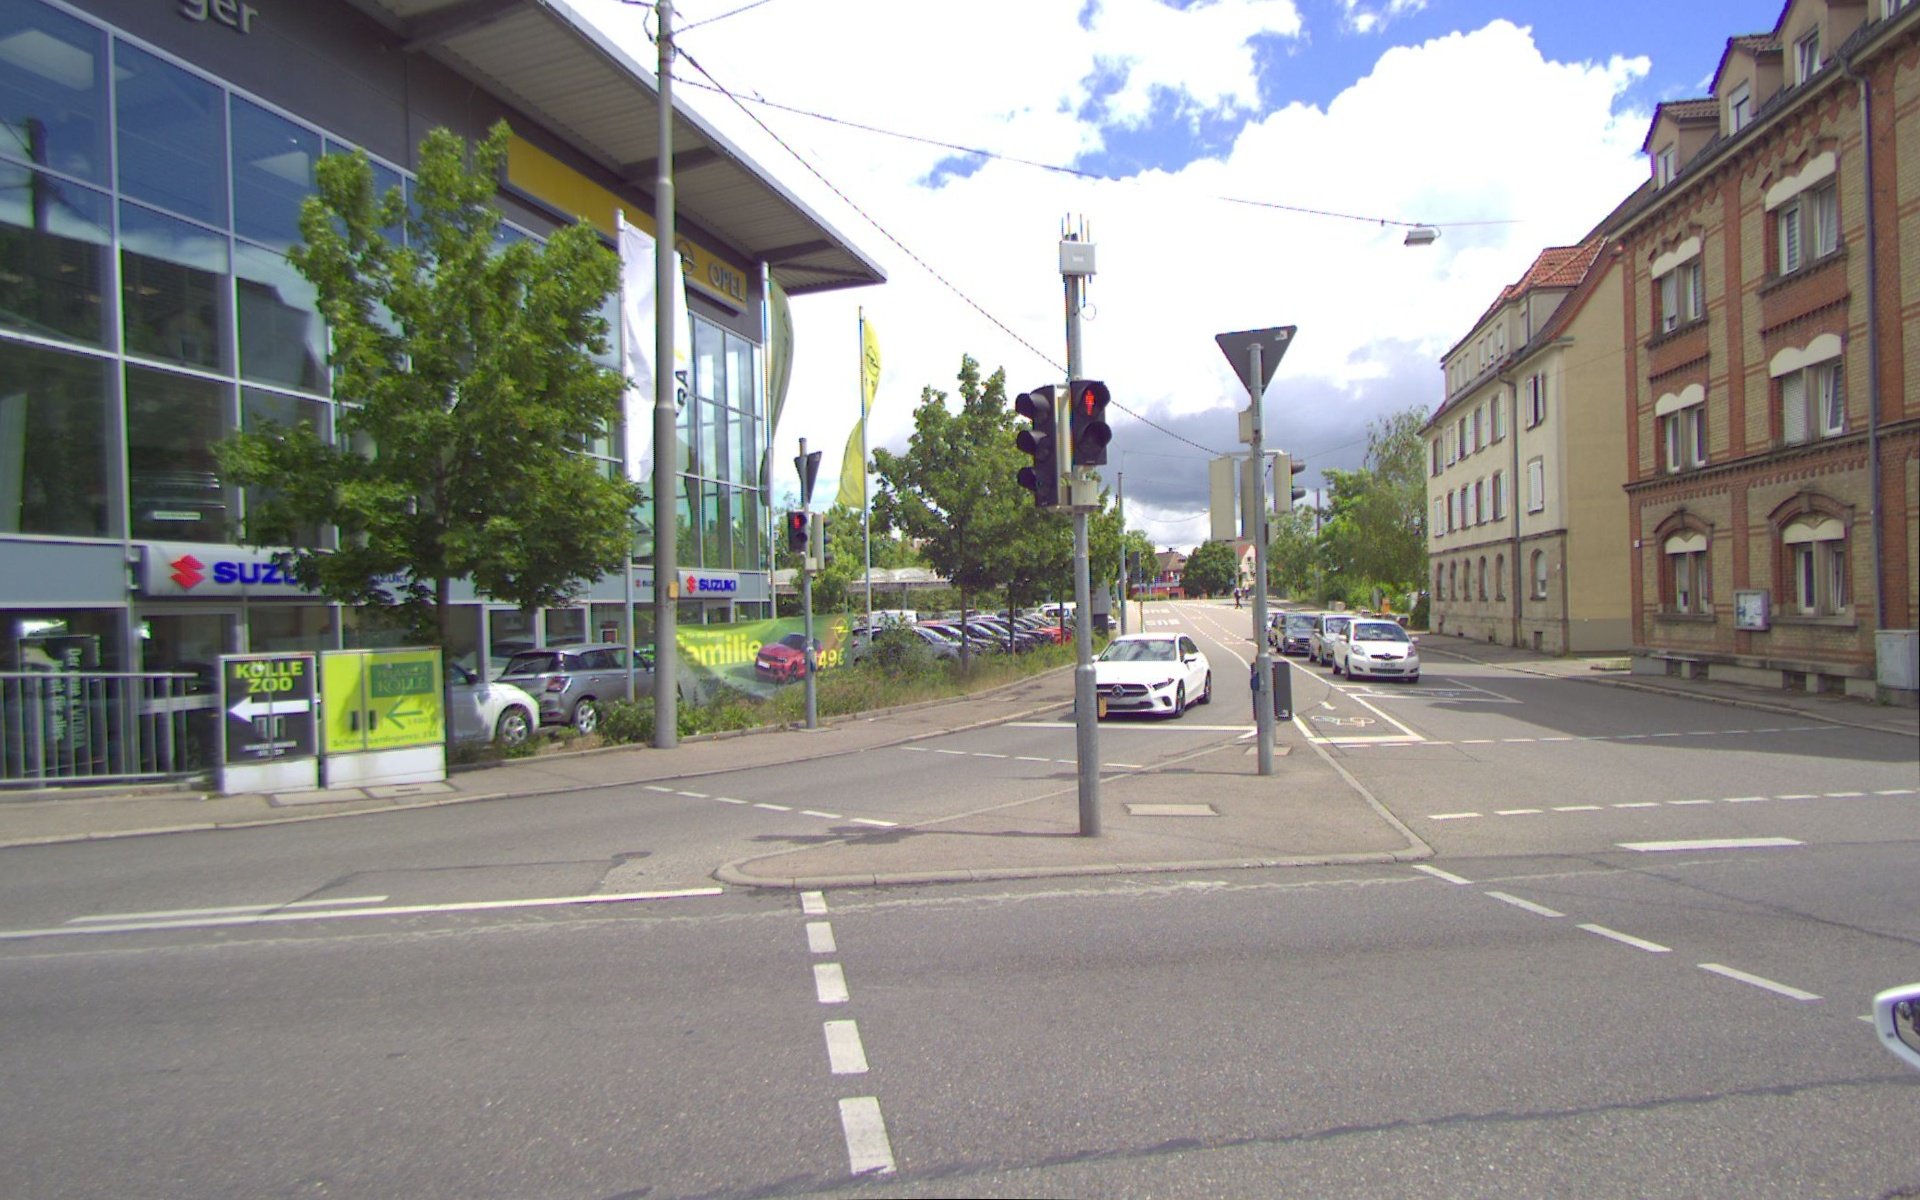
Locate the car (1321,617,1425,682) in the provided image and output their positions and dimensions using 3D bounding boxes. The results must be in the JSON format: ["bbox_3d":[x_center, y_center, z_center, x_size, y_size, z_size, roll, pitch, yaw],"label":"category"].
[{"bbox_3d":[10.605,1.211,26.061,1.667,1.517,4.003,1,-1,10],"label":"car"}]

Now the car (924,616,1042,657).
[{"bbox_3d":[0.845,1.312,36.428,3.920,1.371,1.733,1,-1,17],"label":"car"}]

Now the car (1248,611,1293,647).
[{"bbox_3d":[15.937,1.477,51.641,1.906,1.743,4.002,1,-1,13],"label":"car"}]

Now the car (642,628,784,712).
[{"bbox_3d":[-5.253,1.442,21.763,1.486,1.596,3.416,1,-1,16],"label":"car"}]

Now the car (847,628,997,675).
[{"bbox_3d":[-1.073,1.446,28.947,3.920,1.202,1.819,1,-1,17],"label":"car"}]

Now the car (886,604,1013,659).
[{"bbox_3d":[-0.318,0.953,31.168,3.613,1.596,1.592,1,0,18],"label":"car"}]

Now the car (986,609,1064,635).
[{"bbox_3d":[3.554,1.200,54.696,3.920,1.311,1.819,1,-1,17],"label":"car"}]

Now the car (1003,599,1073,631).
[{"bbox_3d":[5.235,0.988,66.903,2.211,2.040,4.904,0,-1,41],"label":"car"}]

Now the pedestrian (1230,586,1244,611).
[{"bbox_3d":[22.456,-0.099,81.466,0.946,2.040,0.865,1,0,28],"label":"pedestrian"}]

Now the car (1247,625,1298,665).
[{"bbox_3d":[13.848,1.967,44.685,1.960,1.607,4.348,0,0,15],"label":"car"}]

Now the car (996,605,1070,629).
[{"bbox_3d":[4.220,0.968,57.754,3.920,1.311,1.819,1,-1,17],"label":"car"}]

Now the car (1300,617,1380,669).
[{"bbox_3d":[12.182,1.321,32.443,1.712,1.539,4.003,1,-1,10],"label":"car"}]

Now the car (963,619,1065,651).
[{"bbox_3d":[2.248,1.437,41.676,3.920,1.202,1.819,1,-1,17],"label":"car"}]

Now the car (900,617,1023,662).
[{"bbox_3d":[0.068,1.297,33.818,3.762,1.371,1.733,1,-1,17],"label":"car"}]

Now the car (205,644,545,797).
[{"bbox_3d":[-7.652,1.471,13.560,1.721,1.596,3.686,2,0,20],"label":"car"}]

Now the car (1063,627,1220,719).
[{"bbox_3d":[3.464,1.276,18.498,1.827,1.466,4.389,-3,-3,23],"label":"car"}]

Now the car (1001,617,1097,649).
[{"bbox_3d":[3.921,1.411,44.033,3.920,1.311,1.819,1,-1,17],"label":"car"}]

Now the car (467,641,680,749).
[{"bbox_3d":[-6.589,1.550,17.576,1.486,1.543,3.794,1,-1,16],"label":"car"}]

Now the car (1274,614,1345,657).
[{"bbox_3d":[13.300,1.306,38.462,1.959,1.539,4.003,1,-1,10],"label":"car"}]
